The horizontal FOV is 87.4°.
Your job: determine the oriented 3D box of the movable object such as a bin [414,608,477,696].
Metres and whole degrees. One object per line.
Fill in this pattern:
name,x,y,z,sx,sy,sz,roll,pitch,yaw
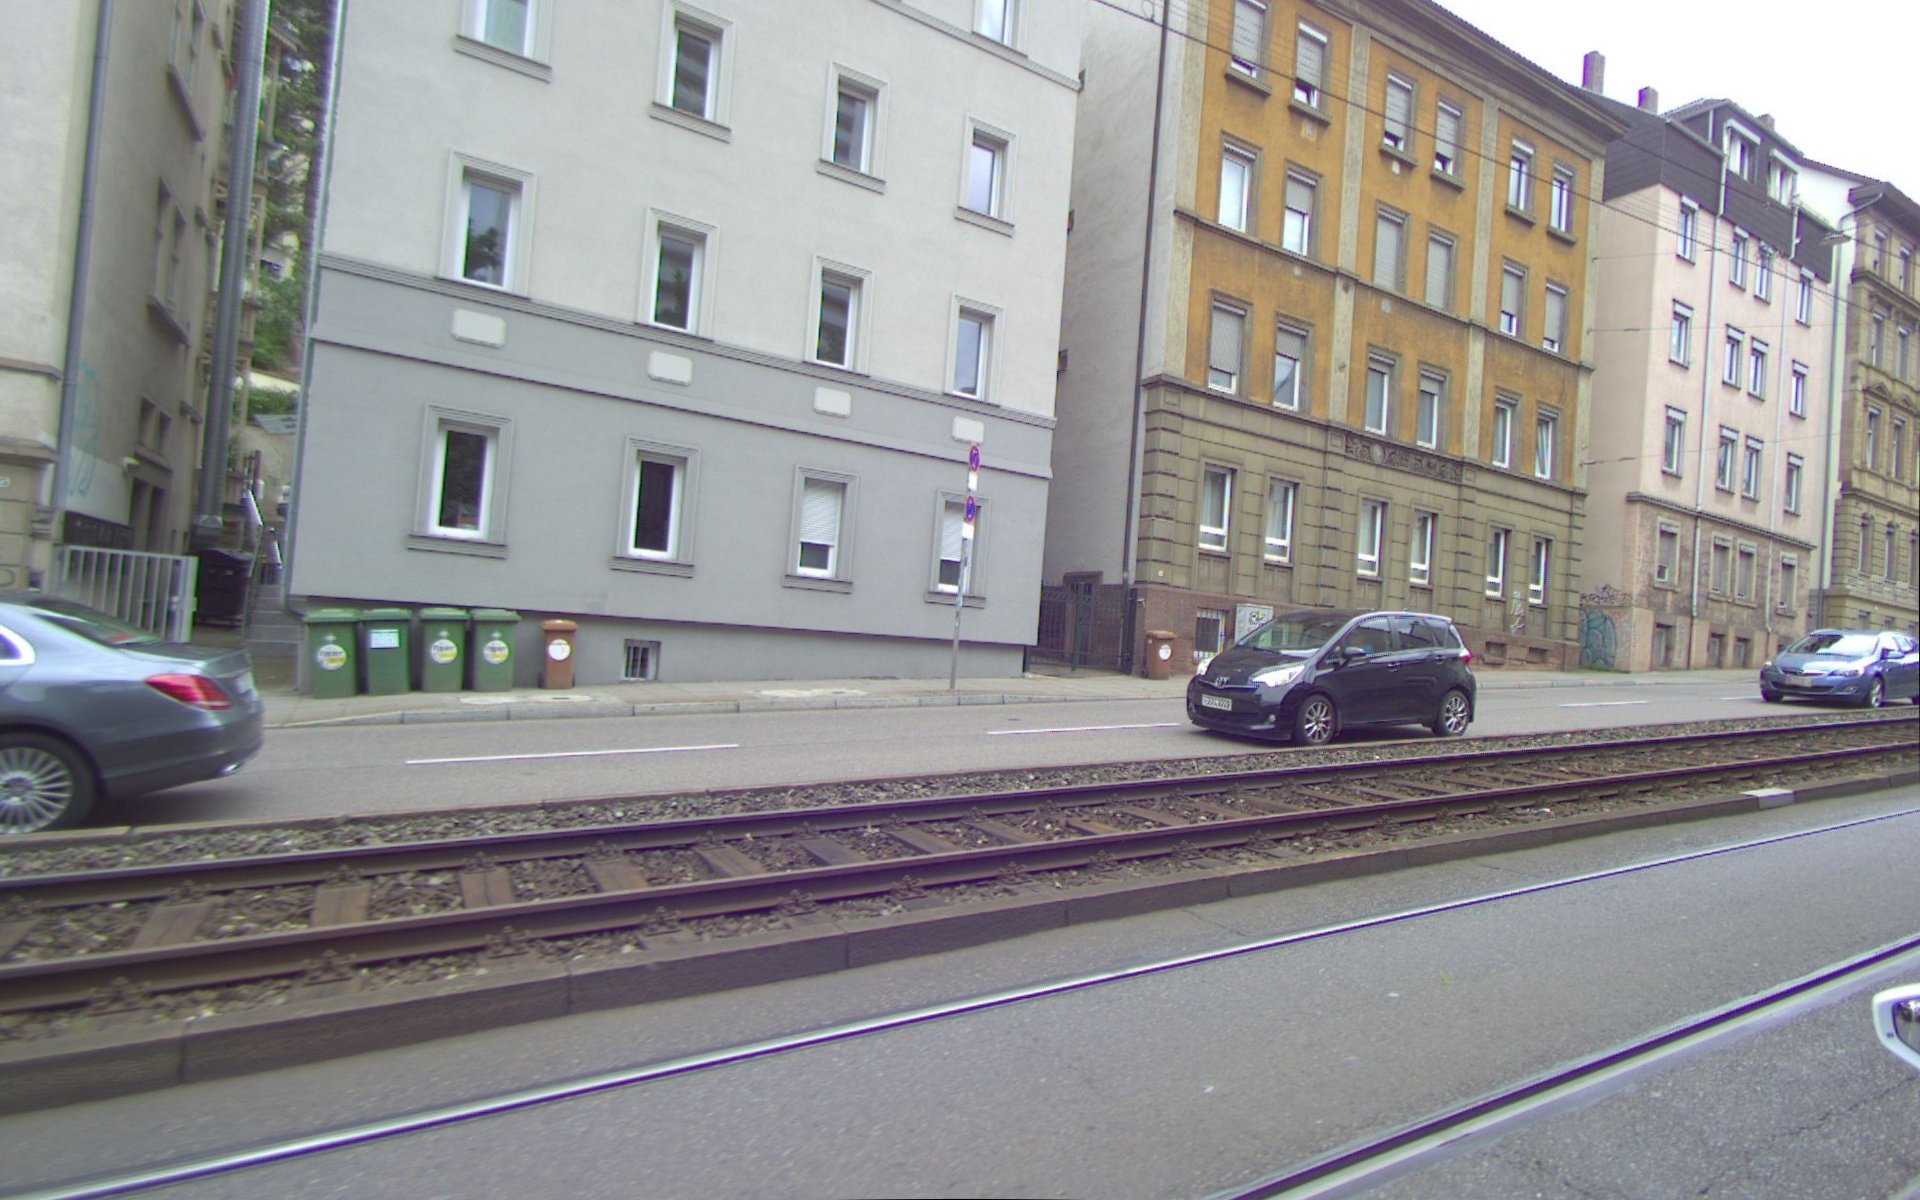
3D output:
movable object such as a bin,-6.712,0.658,13.096,0.689,1.088,0.821,1,0,-29

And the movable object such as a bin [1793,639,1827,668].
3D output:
movable object such as a bin,29.153,1.839,34.454,0.668,0.923,0.626,1,3,-30

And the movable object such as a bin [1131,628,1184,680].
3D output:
movable object such as a bin,3.847,1.046,19.560,0.645,0.960,0.775,1,0,-29

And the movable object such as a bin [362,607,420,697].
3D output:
movable object such as a bin,-7.207,0.646,12.739,0.599,1.088,0.739,1,0,-29

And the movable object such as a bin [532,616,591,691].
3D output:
movable object such as a bin,-5.523,0.733,13.900,0.668,0.998,0.619,1,0,-30

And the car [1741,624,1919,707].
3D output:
car,18.031,1.277,20.406,4.606,1.474,1.834,2,0,-30

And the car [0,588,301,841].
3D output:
car,-6.651,0.595,5.713,4.709,1.379,1.803,2,0,-30

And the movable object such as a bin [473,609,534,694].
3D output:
movable object such as a bin,-6.122,0.676,13.454,0.668,1.088,0.821,1,0,-29

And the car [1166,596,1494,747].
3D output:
car,4.647,0.814,12.510,3.922,1.617,1.735,2,0,-30

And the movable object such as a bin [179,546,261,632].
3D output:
movable object such as a bin,-13.985,-0.219,19.017,1.003,1.495,0.937,5,1,-27

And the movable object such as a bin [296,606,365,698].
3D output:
movable object such as a bin,-7.801,0.630,12.476,0.663,1.088,0.724,1,0,-29
